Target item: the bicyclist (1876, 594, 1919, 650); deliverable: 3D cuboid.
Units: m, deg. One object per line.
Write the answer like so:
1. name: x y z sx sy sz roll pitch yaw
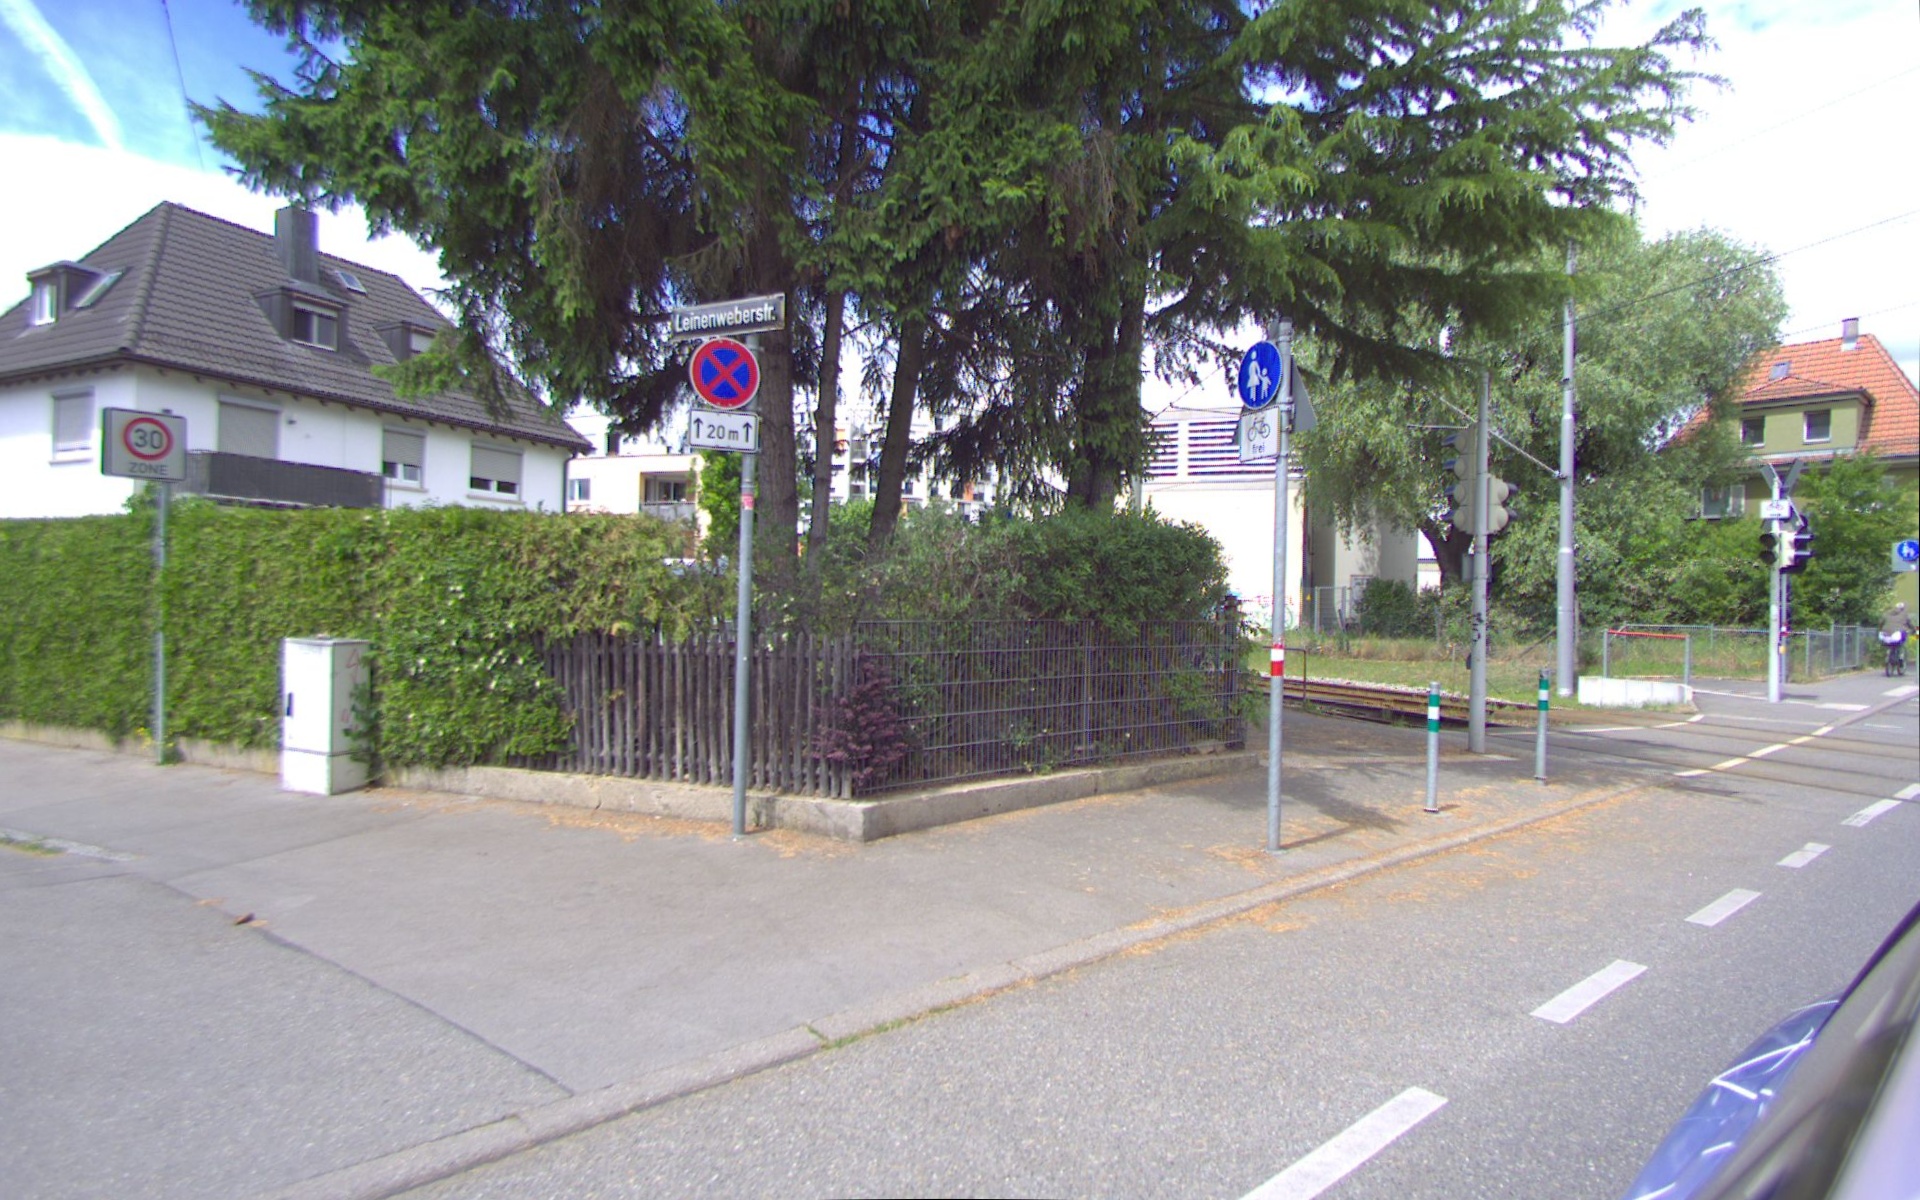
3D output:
1. bicyclist: 22.195 0.518 23.653 1.082 1.263 0.935 1 1 -37

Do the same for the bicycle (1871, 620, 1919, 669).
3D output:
1. bicycle: 22.182 1.032 23.663 1.879 1.053 0.935 1 1 -37
